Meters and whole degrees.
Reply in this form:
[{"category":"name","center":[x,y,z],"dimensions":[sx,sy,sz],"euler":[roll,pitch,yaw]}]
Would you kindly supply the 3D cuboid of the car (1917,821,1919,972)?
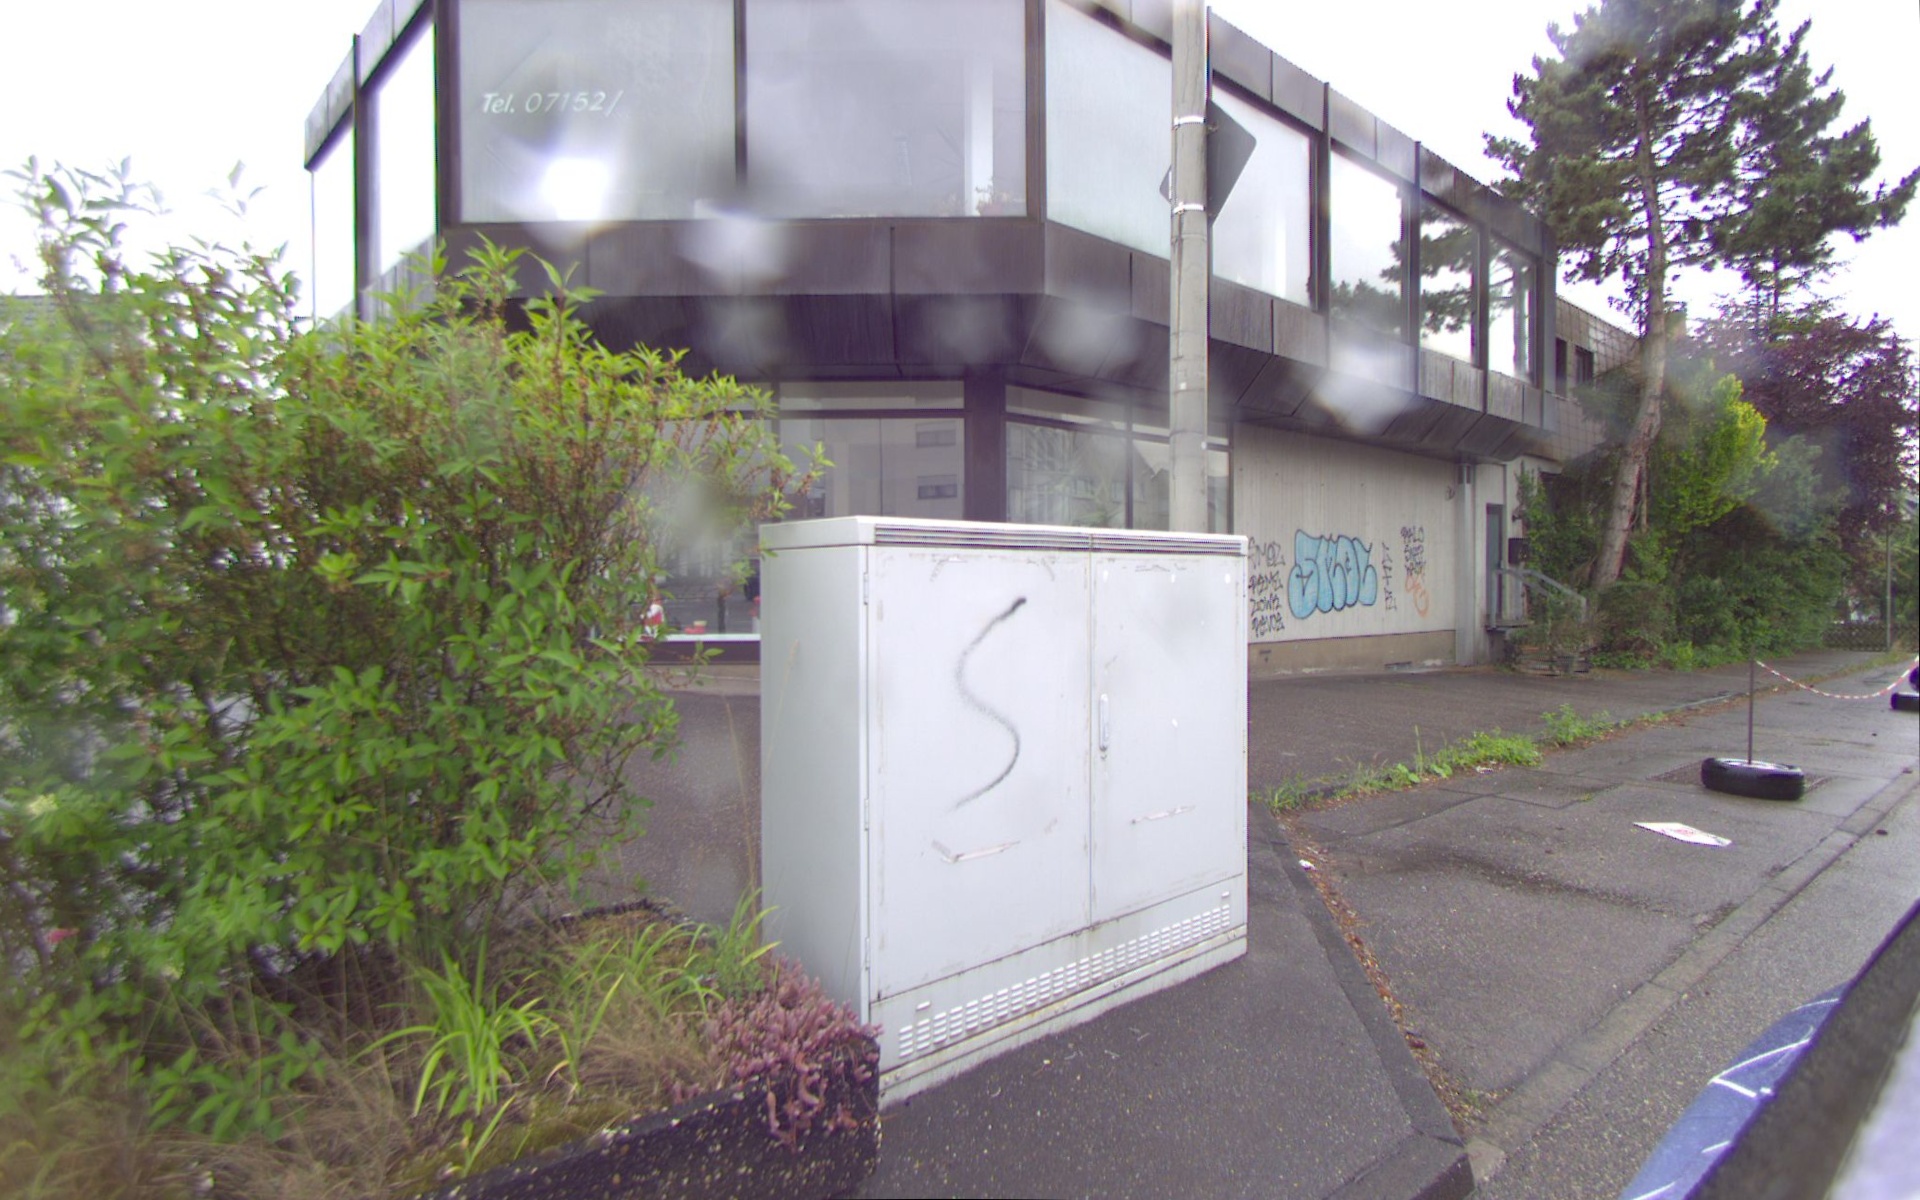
[{"category":"car","center":[5.872,0.600,4.602],"dimensions":[4.595,1.562,1.753],"euler":[-1,1,-41]}]
